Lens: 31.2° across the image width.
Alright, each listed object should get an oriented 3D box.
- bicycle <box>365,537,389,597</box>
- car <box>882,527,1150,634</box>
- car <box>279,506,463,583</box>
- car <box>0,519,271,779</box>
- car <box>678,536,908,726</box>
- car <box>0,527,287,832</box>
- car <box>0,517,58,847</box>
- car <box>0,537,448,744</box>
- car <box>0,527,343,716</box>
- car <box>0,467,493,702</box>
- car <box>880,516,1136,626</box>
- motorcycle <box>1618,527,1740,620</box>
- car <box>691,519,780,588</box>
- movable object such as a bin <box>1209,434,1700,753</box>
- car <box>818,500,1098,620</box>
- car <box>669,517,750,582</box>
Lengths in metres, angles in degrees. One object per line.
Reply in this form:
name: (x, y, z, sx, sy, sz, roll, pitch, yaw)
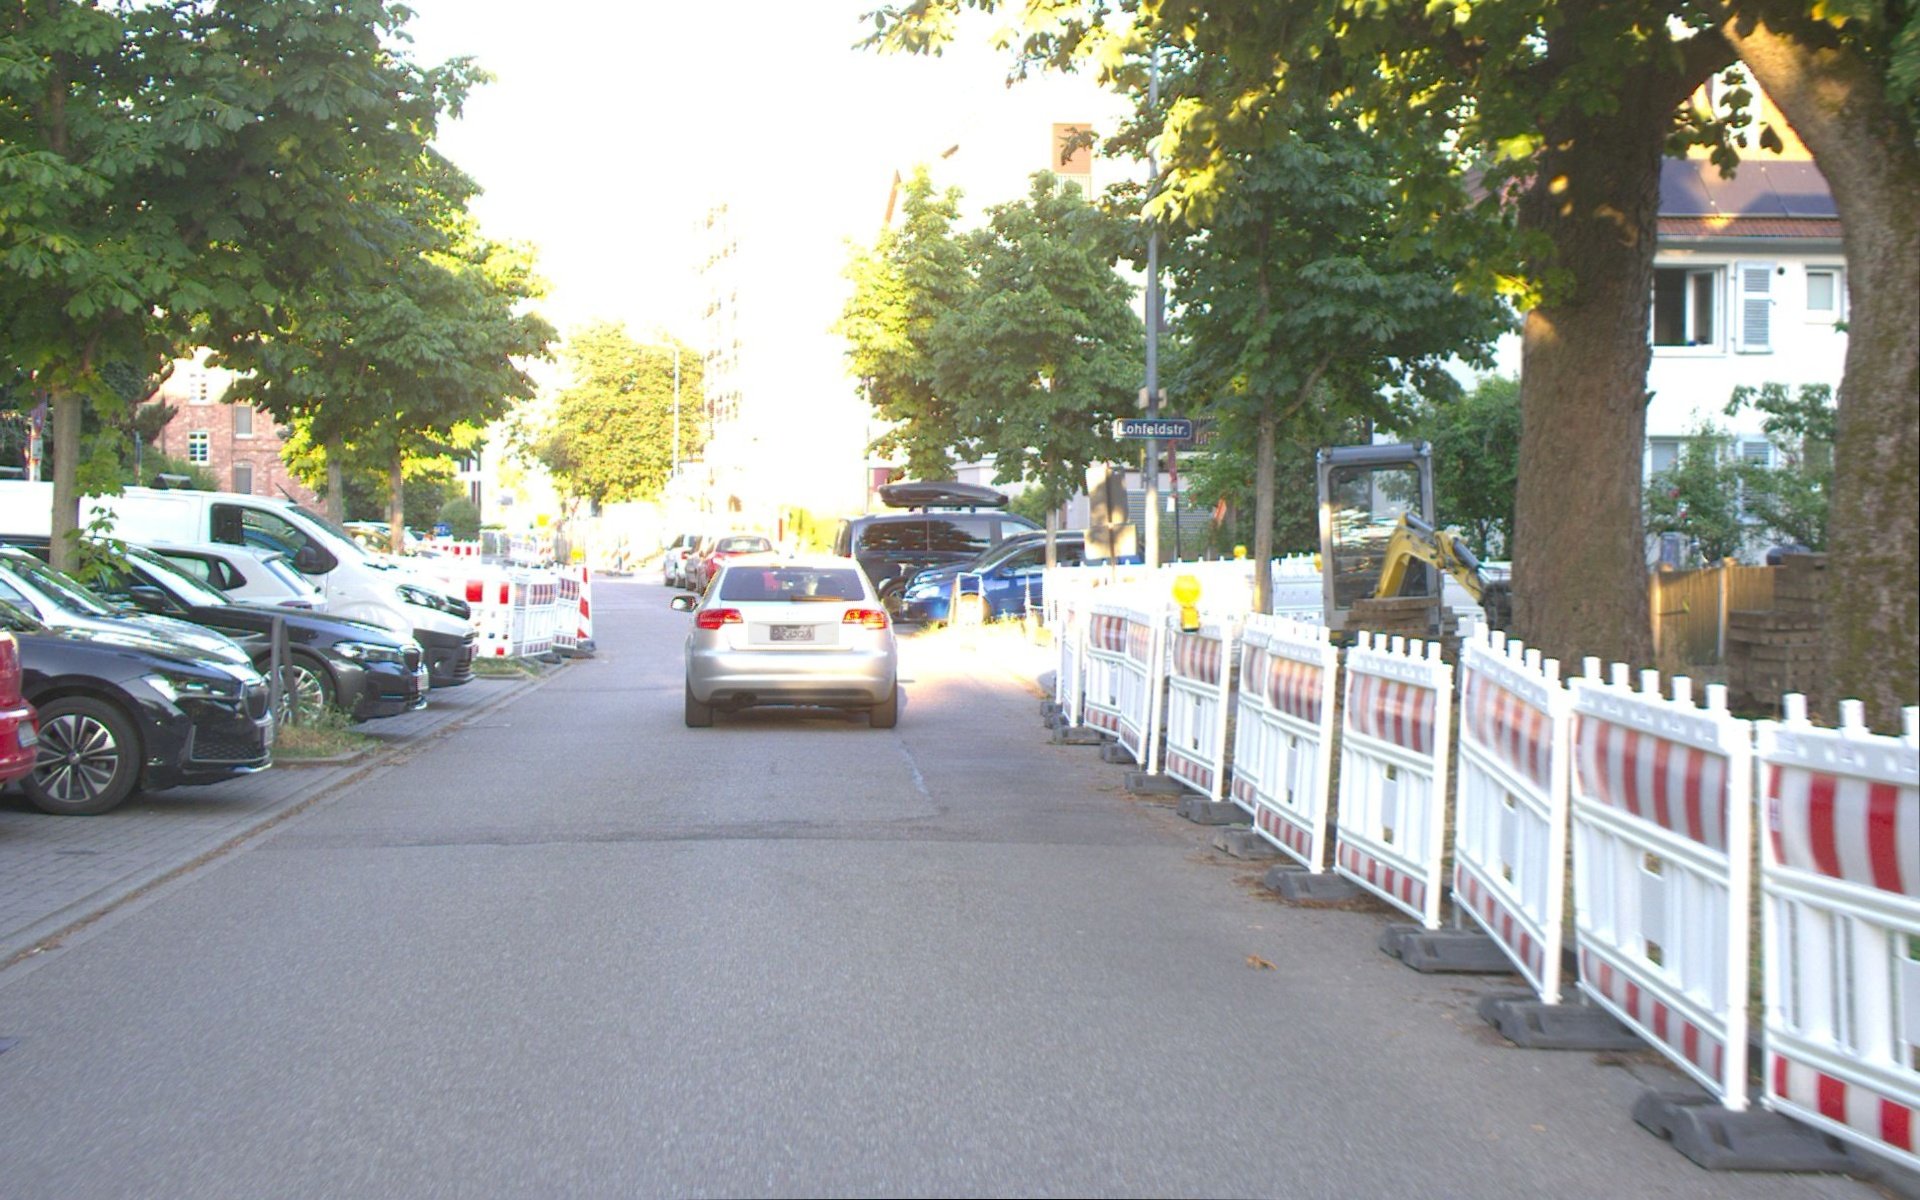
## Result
bicycle: (-12.258, -0.699, 72.233, 0.405, 1.223, 1.988, 1, 1, -12)
car: (0.897, -0.318, 55.580, 3.986, 1.645, 1.765, 1, 1, -14)
car: (-13.160, -1.243, 76.737, 3.986, 1.620, 2.001, 1, 1, -11)
car: (-6.507, 0.267, 21.949, 3.986, 1.573, 1.802, 1, 1, -7)
car: (-1.413, 0.255, 29.233, 1.807, 1.483, 4.000, -1, 0, -3)
car: (-6.093, 0.392, 19.281, 4.405, 1.609, 1.900, 1, 1, -7)
car: (-6.649, 0.349, 17.005, 3.986, 1.578, 1.731, 1, 1, -6)
car: (-6.370, 0.271, 26.027, 4.771, 1.465, 1.881, 1, 1, -3)
car: (-7.032, 0.150, 28.848, 3.414, 1.478, 1.759, 1, 1, -1)
car: (-6.756, -0.164, 31.416, 4.771, 2.007, 2.000, 1, 1, -4)
car: (0.787, -0.508, 58.128, 3.986, 1.762, 2.001, 1, 1, -11)
motorcycle: (8.771, -0.332, 41.902, 0.580, 1.102, 1.842, 2, 2, 42)
car: (-5.109, -1.075, 77.906, 1.730, 1.478, 3.558, 1, 1, -8)
movable object such as a bin: (3.961, -0.114, 28.747, 2.627, 2.394, 5.199, 1, 1, -9)
car: (-0.059, -0.712, 60.542, 4.555, 2.016, 2.102, 1, 1, -12)
car: (-6.462, -1.317, 88.378, 1.808, 1.607, 3.582, 1, 1, -8)
